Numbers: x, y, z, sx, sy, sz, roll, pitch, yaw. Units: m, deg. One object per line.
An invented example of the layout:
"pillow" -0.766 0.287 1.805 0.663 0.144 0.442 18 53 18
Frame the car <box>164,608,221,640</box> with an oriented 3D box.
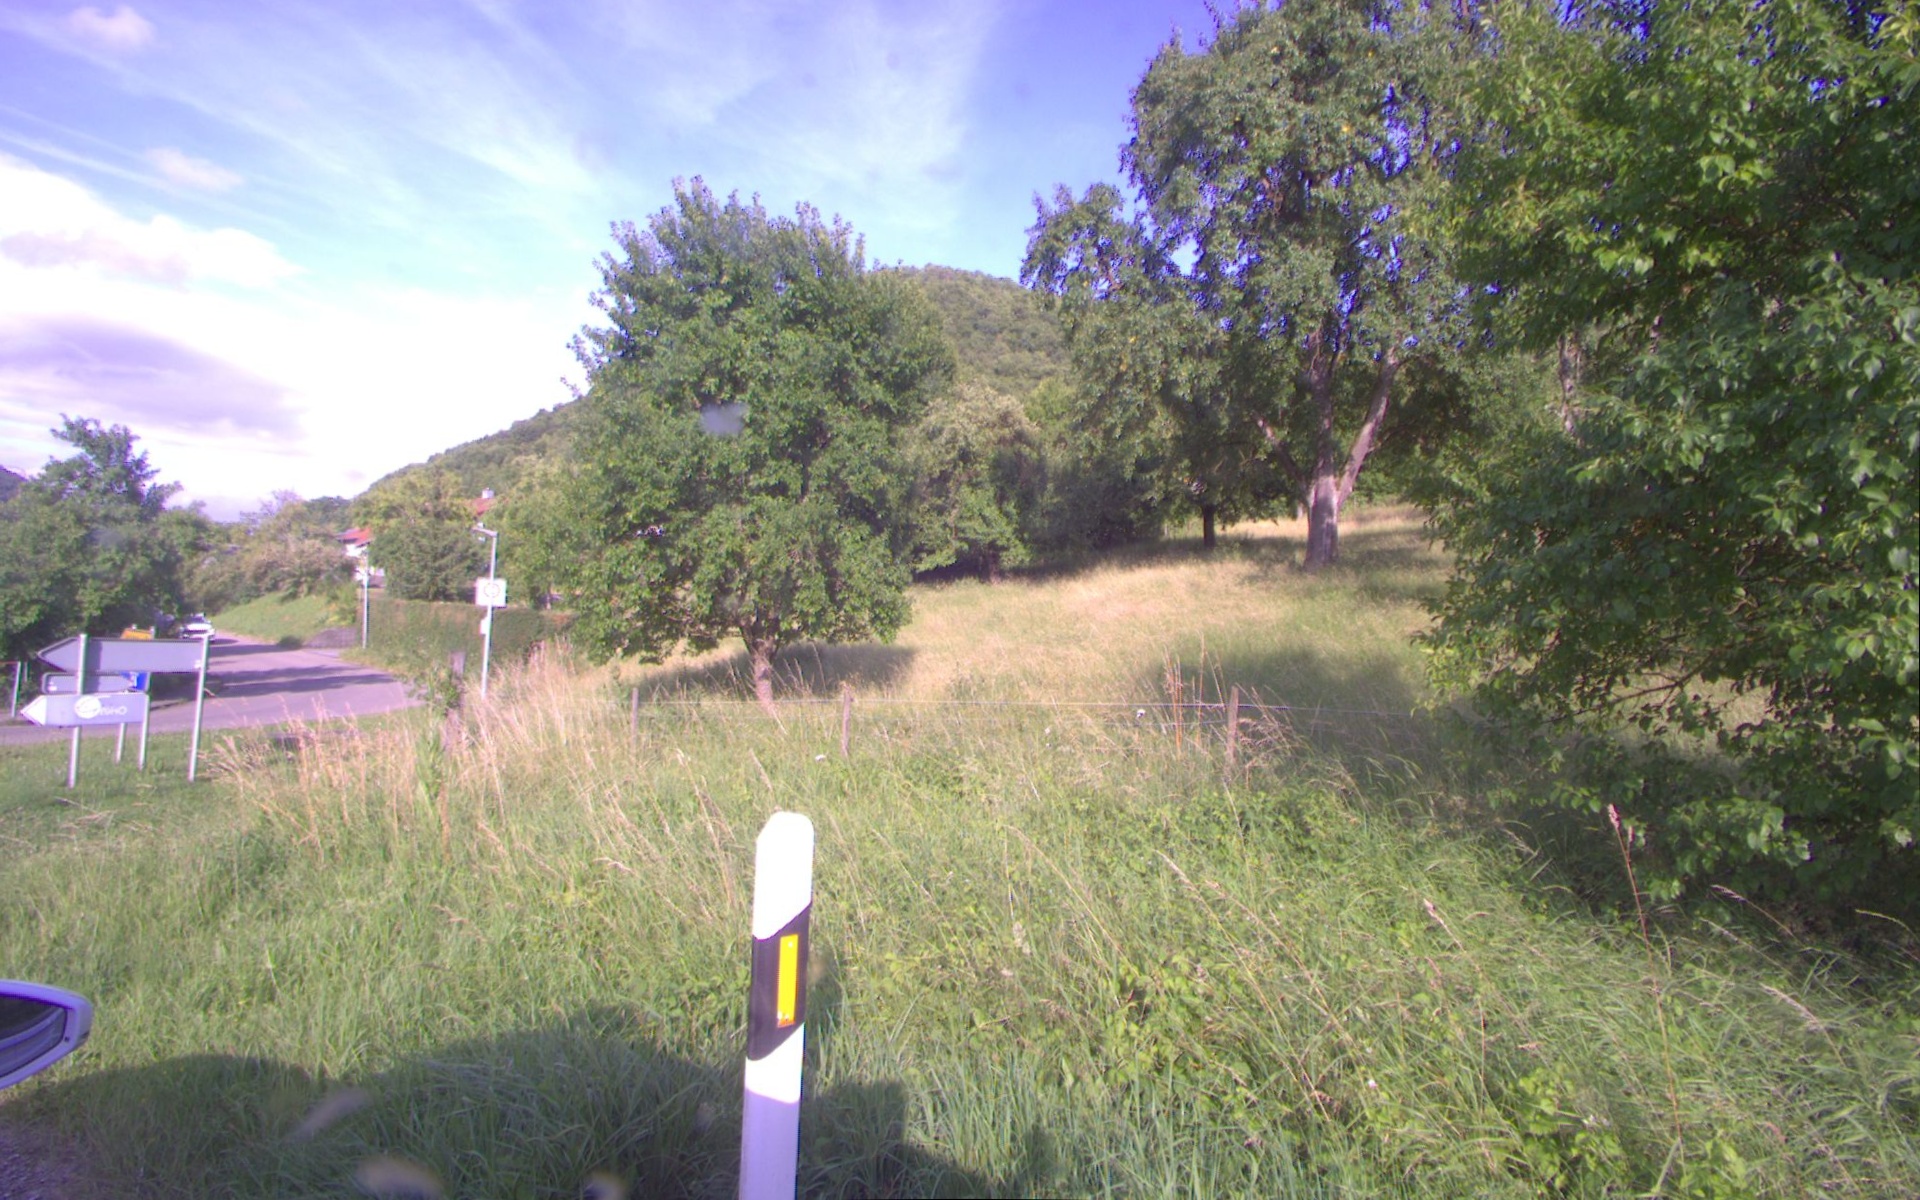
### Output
"car" -40.830 1.254 53.227 1.856 1.631 4.525 2 -2 -45
